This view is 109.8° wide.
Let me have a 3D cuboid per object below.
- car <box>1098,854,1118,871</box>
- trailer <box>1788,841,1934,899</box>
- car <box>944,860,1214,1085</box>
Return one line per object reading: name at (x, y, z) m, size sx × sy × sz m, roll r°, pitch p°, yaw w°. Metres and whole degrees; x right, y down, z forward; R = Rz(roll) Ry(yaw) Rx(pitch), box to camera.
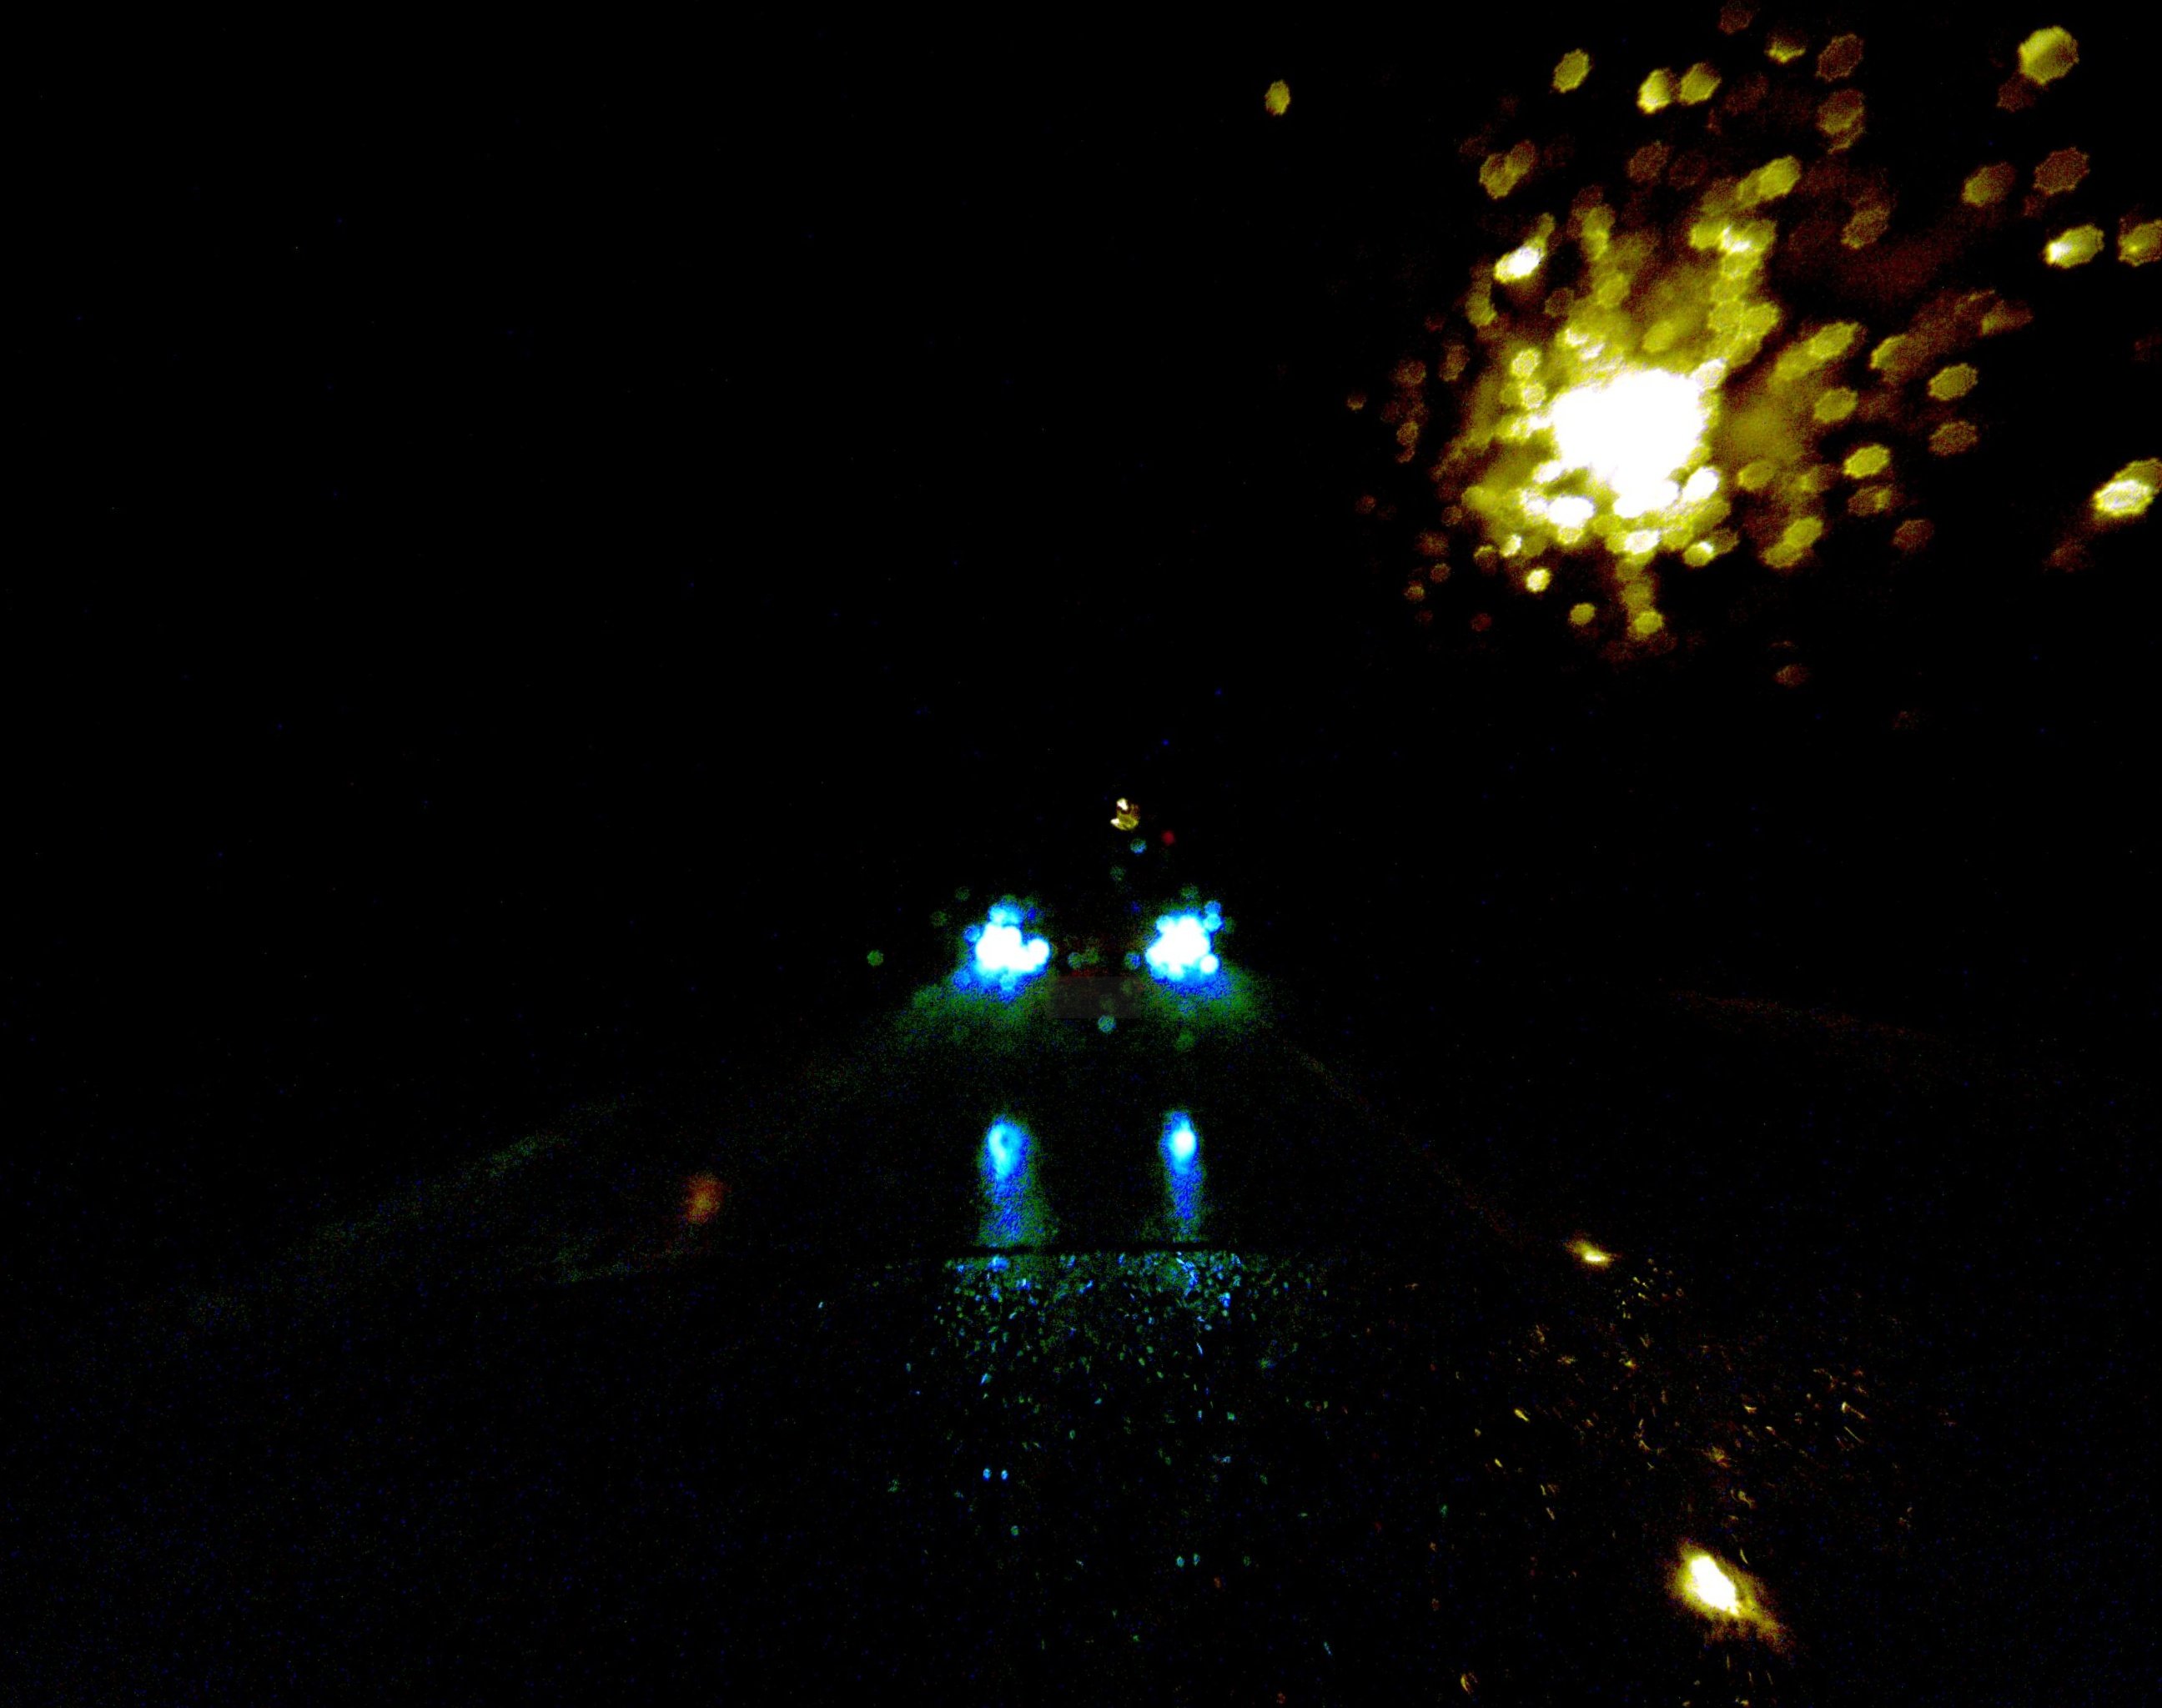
car at (2.527, 0.832, 71.654) m, size 1.878 × 1.536 × 4.356 m, roll 1°, pitch -1°, yaw 1°
trailer at (33.541, 0.634, 32.820) m, size 3.801 × 2.206 × 1.976 m, roll 2°, pitch 3°, yaw 18°
car at (0.033, 0.889, 7.952) m, size 1.944 × 1.580 × 4.775 m, roll -1°, pitch 0°, yaw 1°
